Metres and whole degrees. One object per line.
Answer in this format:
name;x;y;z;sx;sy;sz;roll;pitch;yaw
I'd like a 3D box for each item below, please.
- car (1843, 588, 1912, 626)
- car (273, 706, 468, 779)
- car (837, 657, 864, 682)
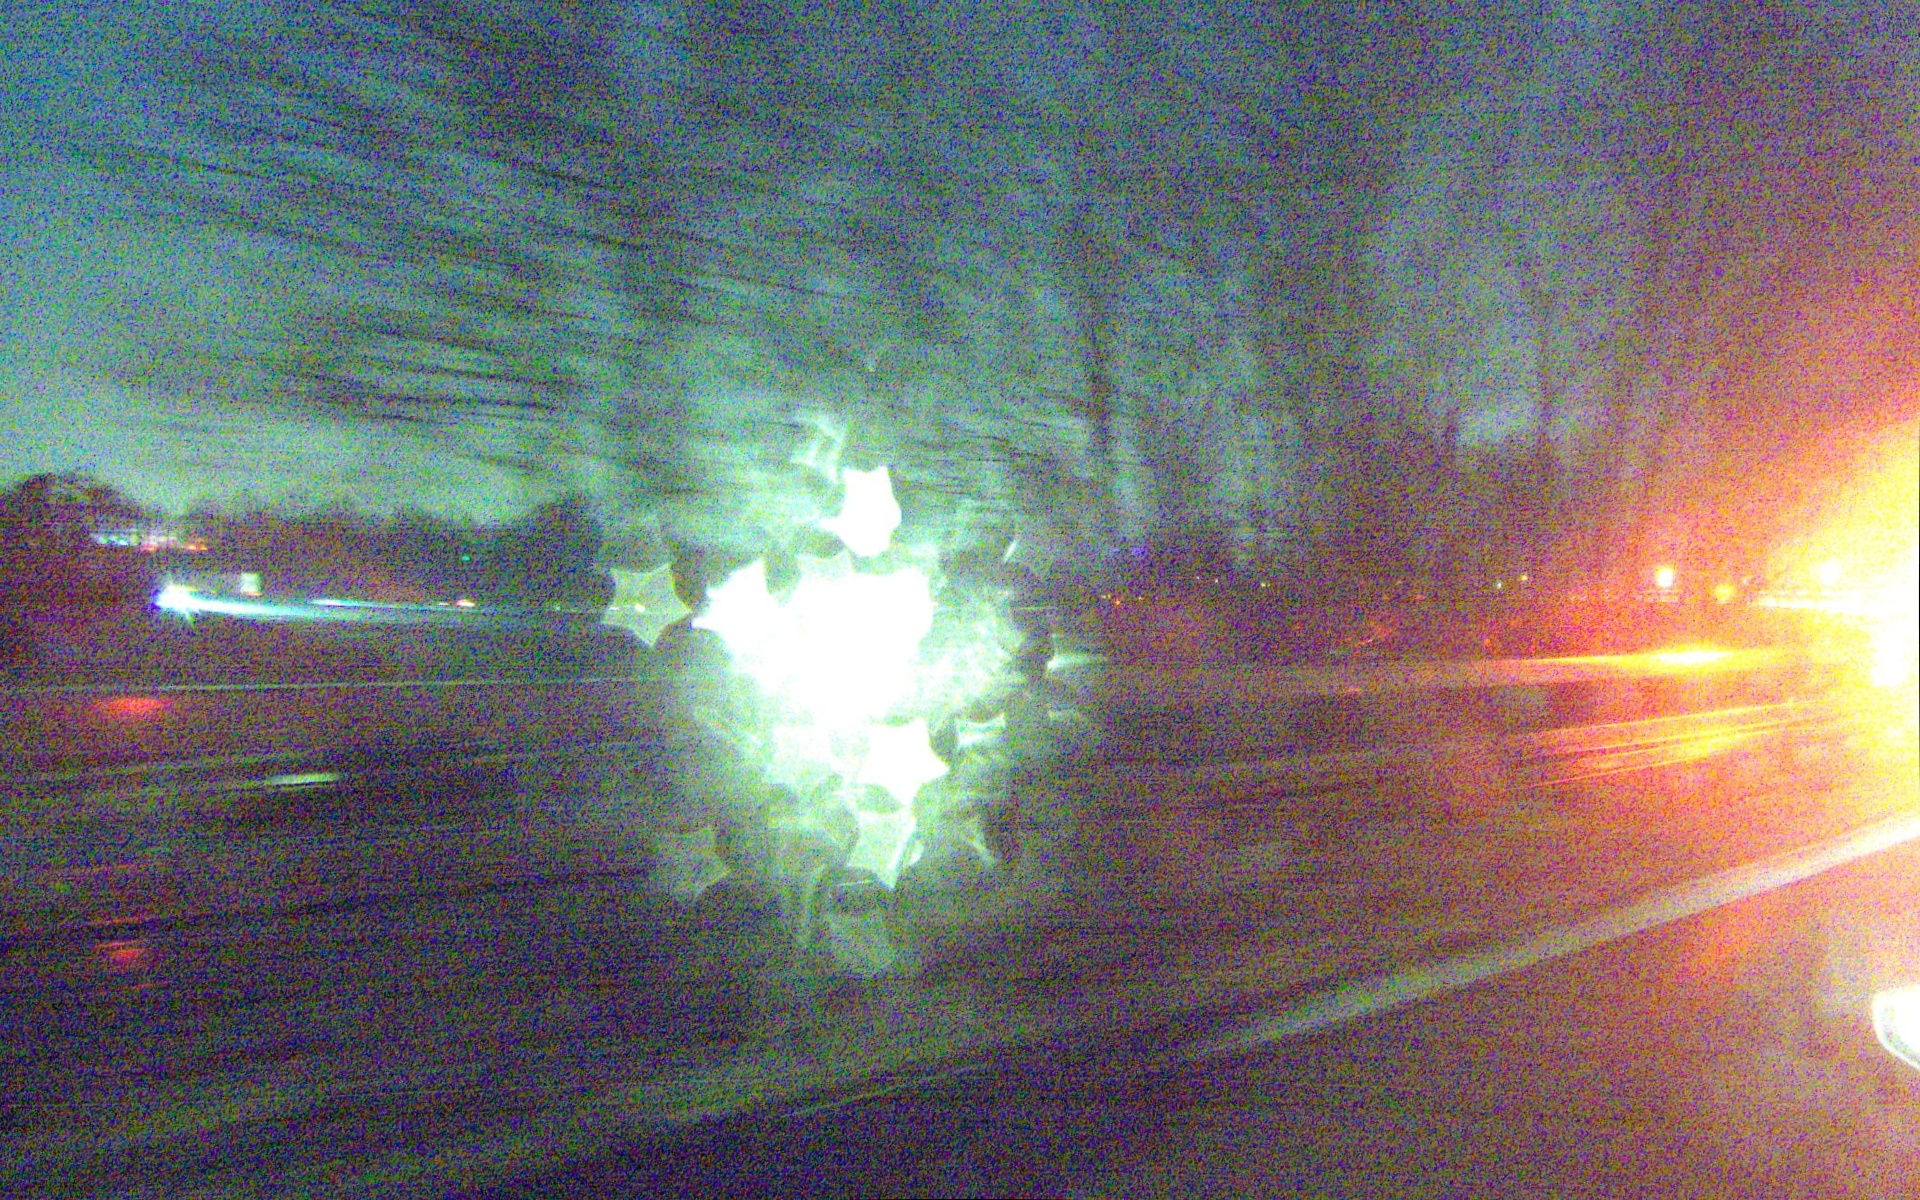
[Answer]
car;50.416;0.333;55.263;1.867;2.025;4.038;1;1;29
car;-15.543;3.699;26.705;1.716;1.444;4.089;3;-1;34
car;-7.144;4.531;65.517;1.476;1.446;3.430;2;-1;-2
